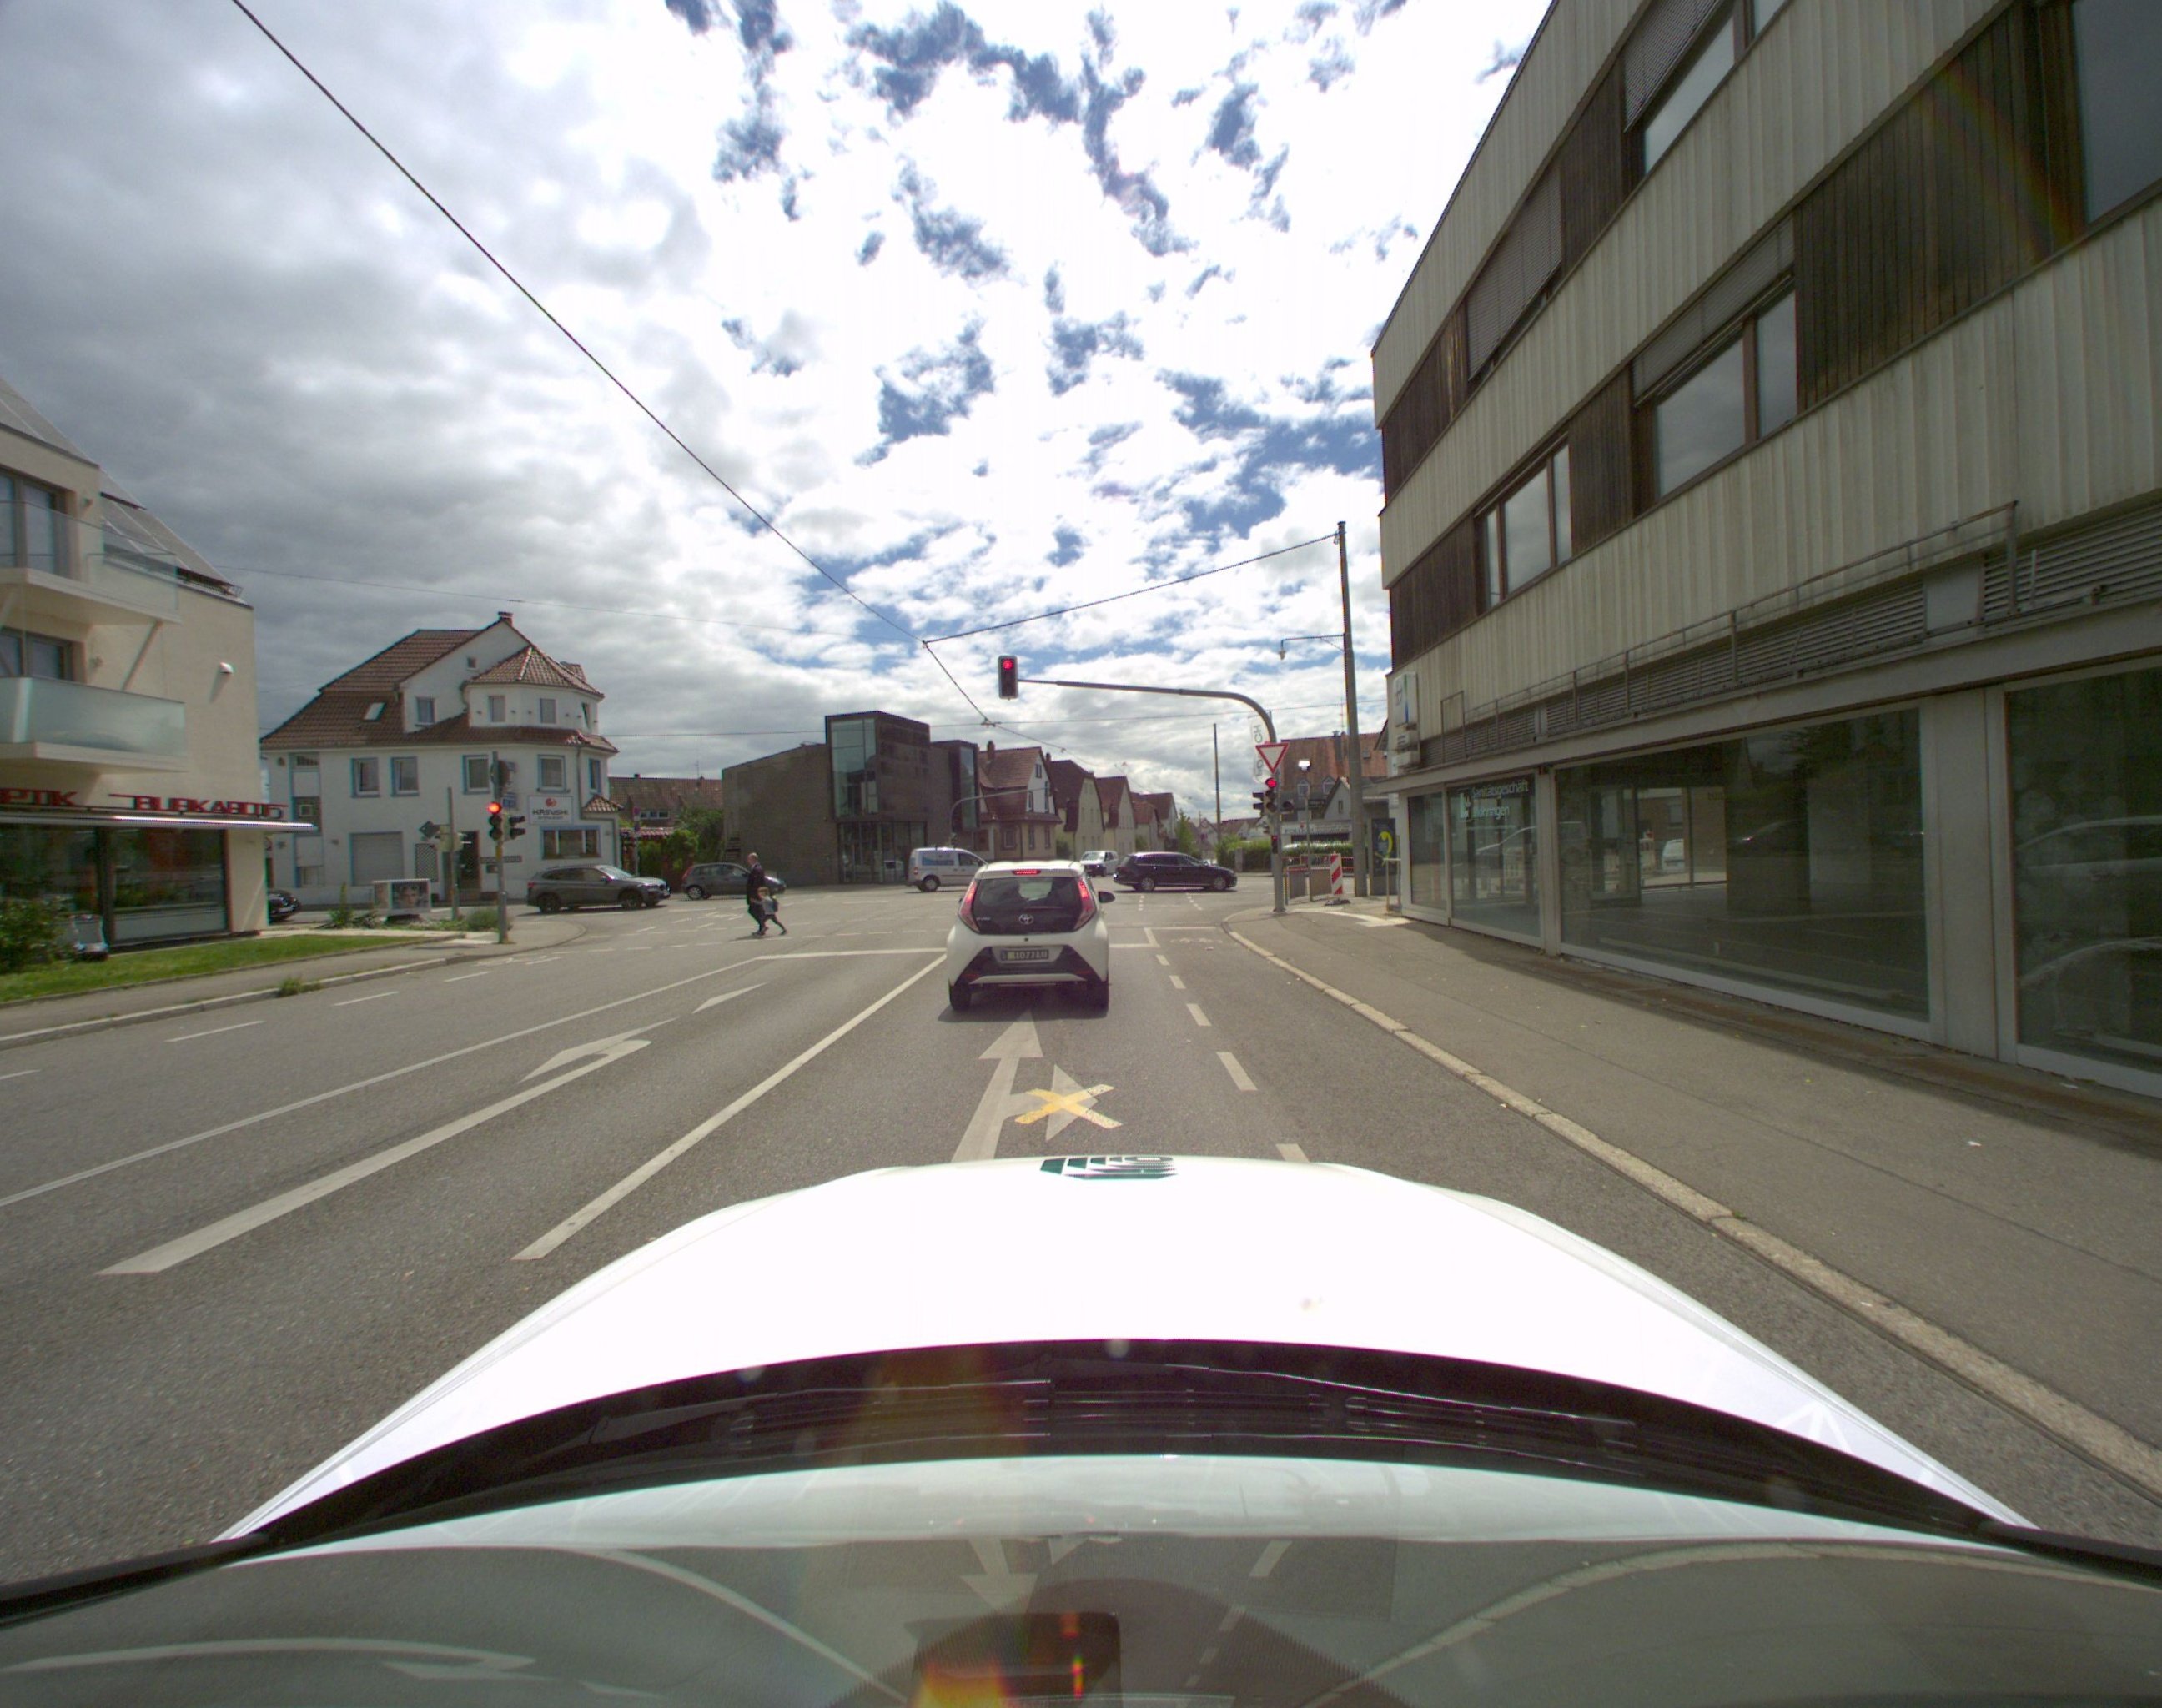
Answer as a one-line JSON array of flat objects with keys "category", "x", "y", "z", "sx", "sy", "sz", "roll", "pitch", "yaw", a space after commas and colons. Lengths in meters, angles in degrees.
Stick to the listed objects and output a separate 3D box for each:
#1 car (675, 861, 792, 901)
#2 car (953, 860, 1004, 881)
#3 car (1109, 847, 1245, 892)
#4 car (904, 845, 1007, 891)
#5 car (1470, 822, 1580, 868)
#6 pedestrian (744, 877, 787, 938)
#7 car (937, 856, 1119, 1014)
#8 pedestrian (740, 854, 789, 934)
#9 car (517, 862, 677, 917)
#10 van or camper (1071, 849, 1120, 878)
[{"category": "car", "x": -13.908, "y": 1.070, "z": 32.788, "sx": 3.990, "sy": 1.486, "sz": 1.992, "roll": -1, "pitch": 0, "yaw": -12}, {"category": "car", "x": -7.951, "y": 1.263, "z": 63.262, "sx": 3.590, "sy": 1.605, "sz": 1.697, "roll": -1, "pitch": 0, "yaw": 13}, {"category": "car", "x": 3.622, "y": 0.554, "z": 31.282, "sx": 4.891, "sy": 1.577, "sz": 1.995, "roll": -1, "pitch": 0, "yaw": -7}, {"category": "car", "x": -5.392, "y": 0.556, "z": 34.843, "sx": 4.073, "sy": 1.849, "sz": 1.987, "roll": 0, "pitch": 0, "yaw": -20}, {"category": "car", "x": 18.653, "y": -0.359, "z": 34.369, "sx": 3.950, "sy": 1.838, "sz": 2.012, "roll": -1, "pitch": 0, "yaw": 27}, {"category": "pedestrian", "x": -6.725, "y": 1.130, "z": 17.385, "sx": 0.734, "sy": 1.221, "sz": 0.643, "roll": -2, "pitch": 0, "yaw": -11}, {"category": "car", "x": -0.503, "y": 0.766, "z": 9.326, "sx": 1.692, "sy": 1.456, "sz": 3.298, "roll": -1, "pitch": 0, "yaw": 0}, {"category": "pedestrian", "x": -7.022, "y": 0.866, "z": 18.083, "sx": 0.822, "sy": 1.721, "sz": 0.815, "roll": -2, "pitch": 0, "yaw": -10}, {"category": "car", "x": -16.827, "y": 1.183, "z": 28.527, "sx": 4.291, "sy": 1.675, "sz": 1.994, "roll": -2, "pitch": 0, "yaw": -10}, {"category": "van or camper", "x": 1.109, "y": 0.636, "z": 57.323, "sx": 2.099, "sy": 1.926, "sz": 5.308, "roll": -1, "pitch": 0, "yaw": 16}]
